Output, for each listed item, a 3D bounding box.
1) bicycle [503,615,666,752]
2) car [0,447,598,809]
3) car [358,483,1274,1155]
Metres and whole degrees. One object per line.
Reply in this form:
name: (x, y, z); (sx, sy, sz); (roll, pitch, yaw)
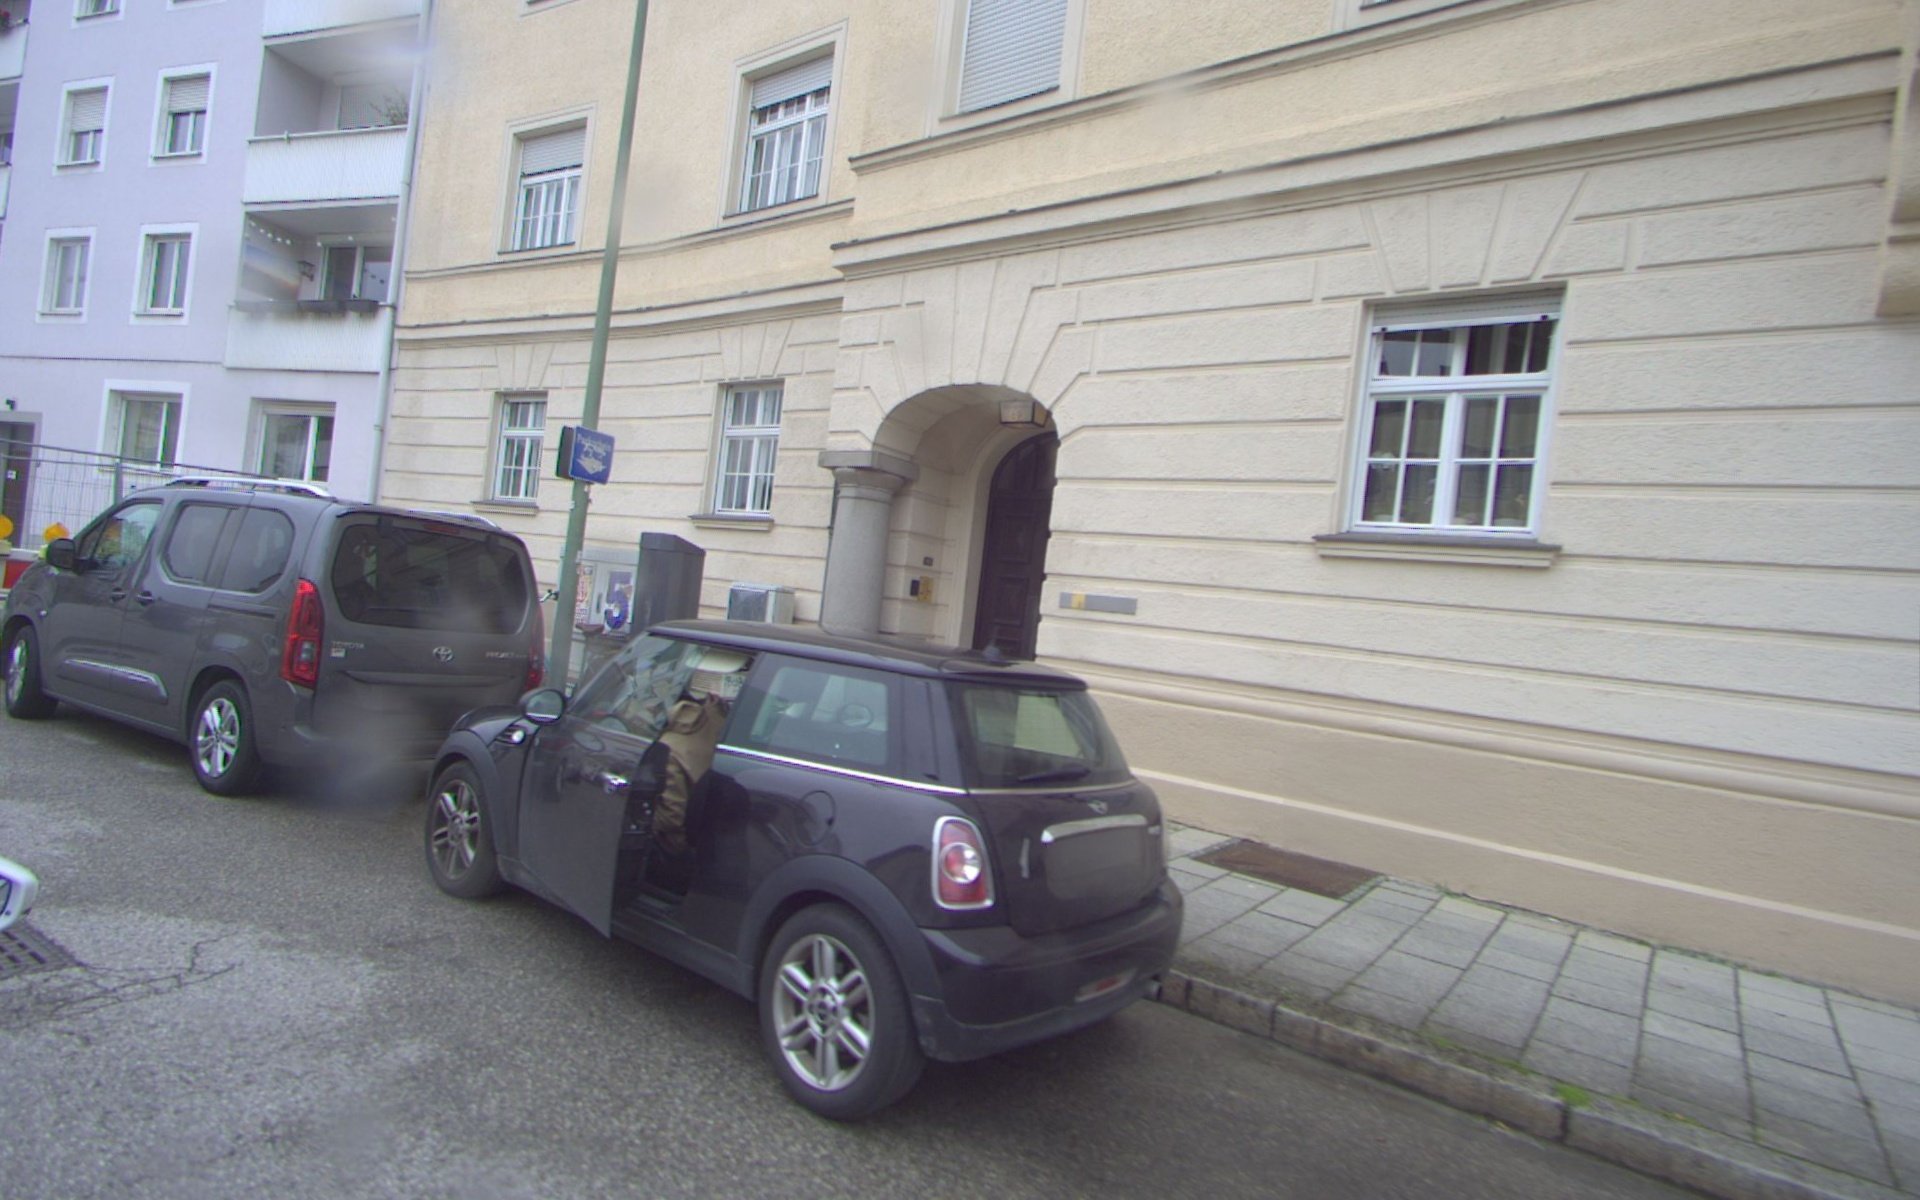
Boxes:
bicycle: (-3.096, 0.671, 8.277); (1.269, 0.940, 0.333); (6, -2, 23)
car: (-4.827, 0.090, 7.053); (4.166, 1.819, 1.842); (6, -3, 29)
car: (-0.810, 0.547, 4.487); (3.674, 1.749, 1.838); (6, -3, 38)
